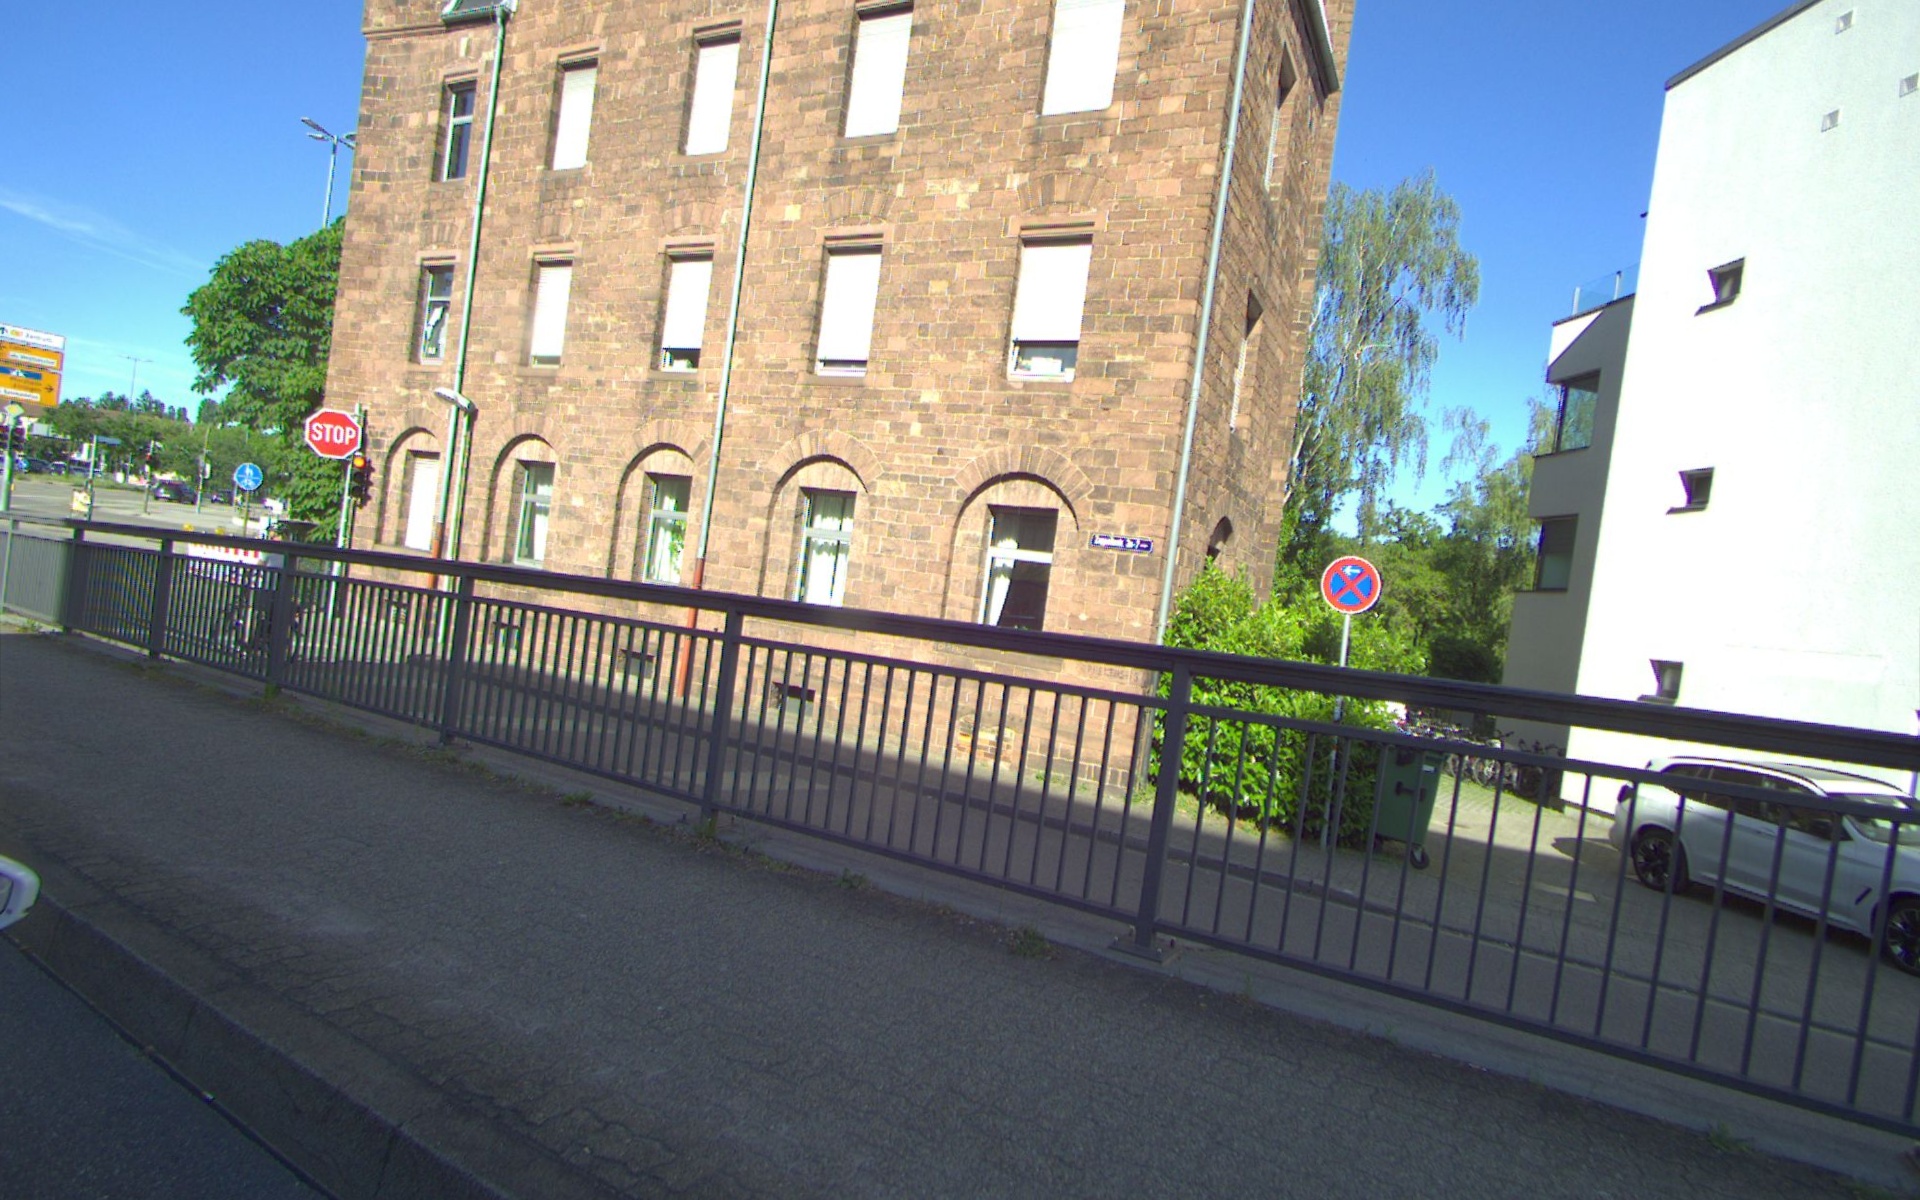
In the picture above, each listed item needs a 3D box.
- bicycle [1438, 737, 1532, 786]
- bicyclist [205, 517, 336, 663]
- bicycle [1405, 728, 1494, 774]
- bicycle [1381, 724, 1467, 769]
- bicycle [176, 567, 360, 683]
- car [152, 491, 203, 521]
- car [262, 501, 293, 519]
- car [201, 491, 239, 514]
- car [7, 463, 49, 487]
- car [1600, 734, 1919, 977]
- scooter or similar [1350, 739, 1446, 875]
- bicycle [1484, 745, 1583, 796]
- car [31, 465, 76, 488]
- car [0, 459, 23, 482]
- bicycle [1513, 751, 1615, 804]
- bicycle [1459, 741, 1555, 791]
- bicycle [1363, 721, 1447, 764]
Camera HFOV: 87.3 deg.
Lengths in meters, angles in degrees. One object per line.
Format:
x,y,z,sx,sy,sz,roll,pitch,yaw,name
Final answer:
11.481,3.530,21.991,2.021,0.897,0.493,6,1,-19,bicycle
-8.956,-0.121,13.083,1.066,1.725,0.802,7,-1,24,bicyclist
11.224,3.467,23.058,2.021,0.897,0.493,6,1,-19,bicycle
11.066,3.489,23.997,2.021,0.897,0.493,6,1,-19,bicycle
-9.011,0.314,13.081,2.359,1.124,0.802,9,0,25,bicycle
-62.906,-7.527,80.935,1.973,1.814,3.983,8,-2,-21,car
-77.785,-10.232,114.669,1.973,1.660,3.978,7,1,-22,car
-71.513,-9.407,97.254,1.975,1.816,3.975,7,1,-25,car
-80.648,-10.823,87.084,1.711,1.602,3.970,8,0,-31,car
9.593,2.711,10.834,1.797,1.788,4.644,7,-2,-9,car
4.863,2.243,11.186,0.771,1.232,1.463,8,-2,24,scooter or similar
11.884,3.538,20.840,2.021,0.897,0.493,6,1,-19,bicycle
-84.884,-11.514,94.288,1.977,1.470,3.975,9,-2,-26,car
-77.170,-10.528,80.811,1.807,1.602,4.069,7,1,-30,car
12.060,3.544,20.084,2.021,0.897,0.493,6,1,-19,bicycle
11.658,3.542,21.447,2.021,0.897,0.493,6,1,-19,bicycle
10.960,3.507,24.751,2.021,0.897,0.493,6,1,-19,bicycle
